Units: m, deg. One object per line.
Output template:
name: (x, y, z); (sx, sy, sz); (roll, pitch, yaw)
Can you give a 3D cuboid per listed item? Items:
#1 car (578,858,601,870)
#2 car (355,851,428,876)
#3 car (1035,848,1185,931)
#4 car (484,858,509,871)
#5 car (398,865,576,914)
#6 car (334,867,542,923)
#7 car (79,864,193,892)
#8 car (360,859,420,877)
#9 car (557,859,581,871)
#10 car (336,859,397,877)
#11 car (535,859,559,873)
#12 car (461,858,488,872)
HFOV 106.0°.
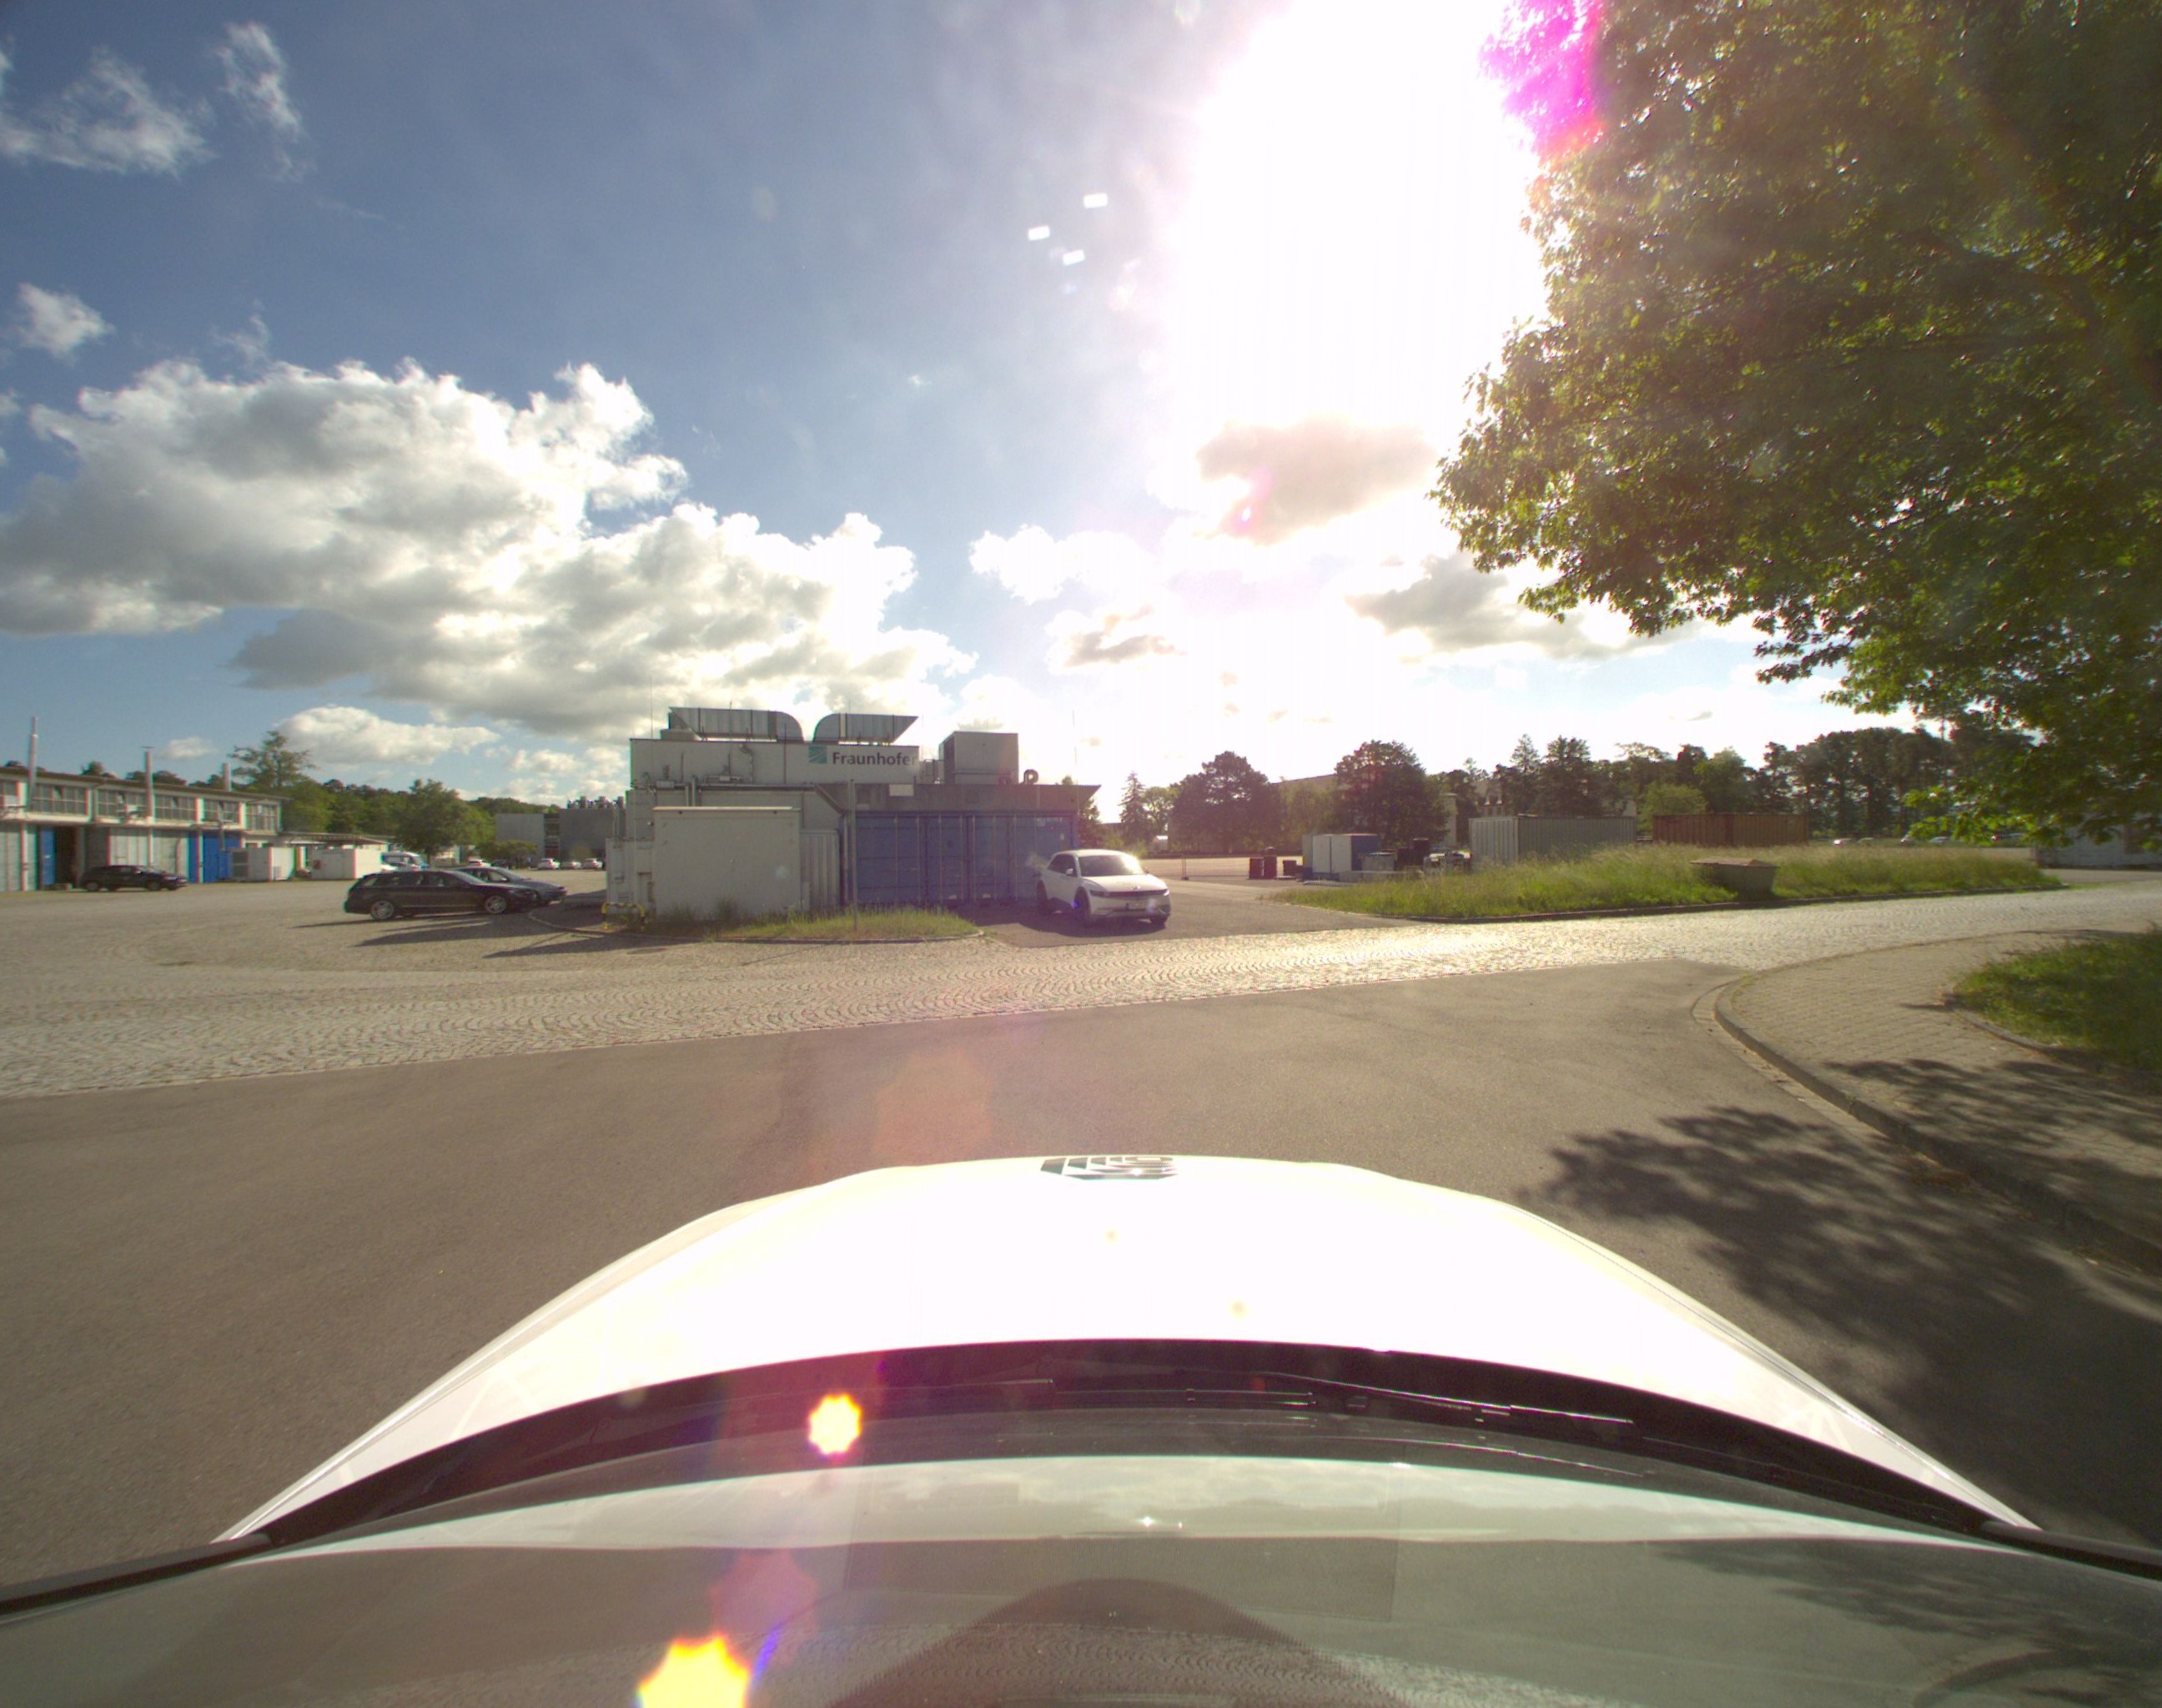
car: (-66.482, 1.380, 110.174); (1.885, 1.537, 4.006); (-3, 1, -22)
car: (-70.683, 0.958, 83.582); (5.268, 2.442, 2.039); (-1, 0, -16)
car: (0.507, 0.694, 18.658); (1.987, 1.593, 4.312); (-1, 1, -20)
car: (-76.259, 1.369, 106.285); (1.886, 1.537, 4.003); (-3, 1, -24)
car: (-20.171, 1.171, 27.897); (4.544, 1.443, 1.891); (-1, -1, -20)
car: (-19.332, 1.201, 24.757); (4.544, 1.443, 1.974); (-1, -1, -20)
car: (-57.723, 1.450, 49.834); (4.177, 1.666, 1.771); (1, -1, -21)
car: (-68.791, 1.377, 81.158); (4.118, 1.630, 1.798); (-1, 0, -16)
car: (-68.602, 1.499, 109.168); (1.885, 1.537, 4.006); (-3, 1, -22)
car: (-68.760, 1.360, 78.429); (4.118, 1.630, 1.699); (-1, 0, -16)
car: (-71.073, 1.556, 108.429); (1.885, 1.689, 4.006); (-3, 1, -22)
car: (-78.611, 1.431, 105.555); (1.855, 1.668, 4.100); (-3, 1, -24)
